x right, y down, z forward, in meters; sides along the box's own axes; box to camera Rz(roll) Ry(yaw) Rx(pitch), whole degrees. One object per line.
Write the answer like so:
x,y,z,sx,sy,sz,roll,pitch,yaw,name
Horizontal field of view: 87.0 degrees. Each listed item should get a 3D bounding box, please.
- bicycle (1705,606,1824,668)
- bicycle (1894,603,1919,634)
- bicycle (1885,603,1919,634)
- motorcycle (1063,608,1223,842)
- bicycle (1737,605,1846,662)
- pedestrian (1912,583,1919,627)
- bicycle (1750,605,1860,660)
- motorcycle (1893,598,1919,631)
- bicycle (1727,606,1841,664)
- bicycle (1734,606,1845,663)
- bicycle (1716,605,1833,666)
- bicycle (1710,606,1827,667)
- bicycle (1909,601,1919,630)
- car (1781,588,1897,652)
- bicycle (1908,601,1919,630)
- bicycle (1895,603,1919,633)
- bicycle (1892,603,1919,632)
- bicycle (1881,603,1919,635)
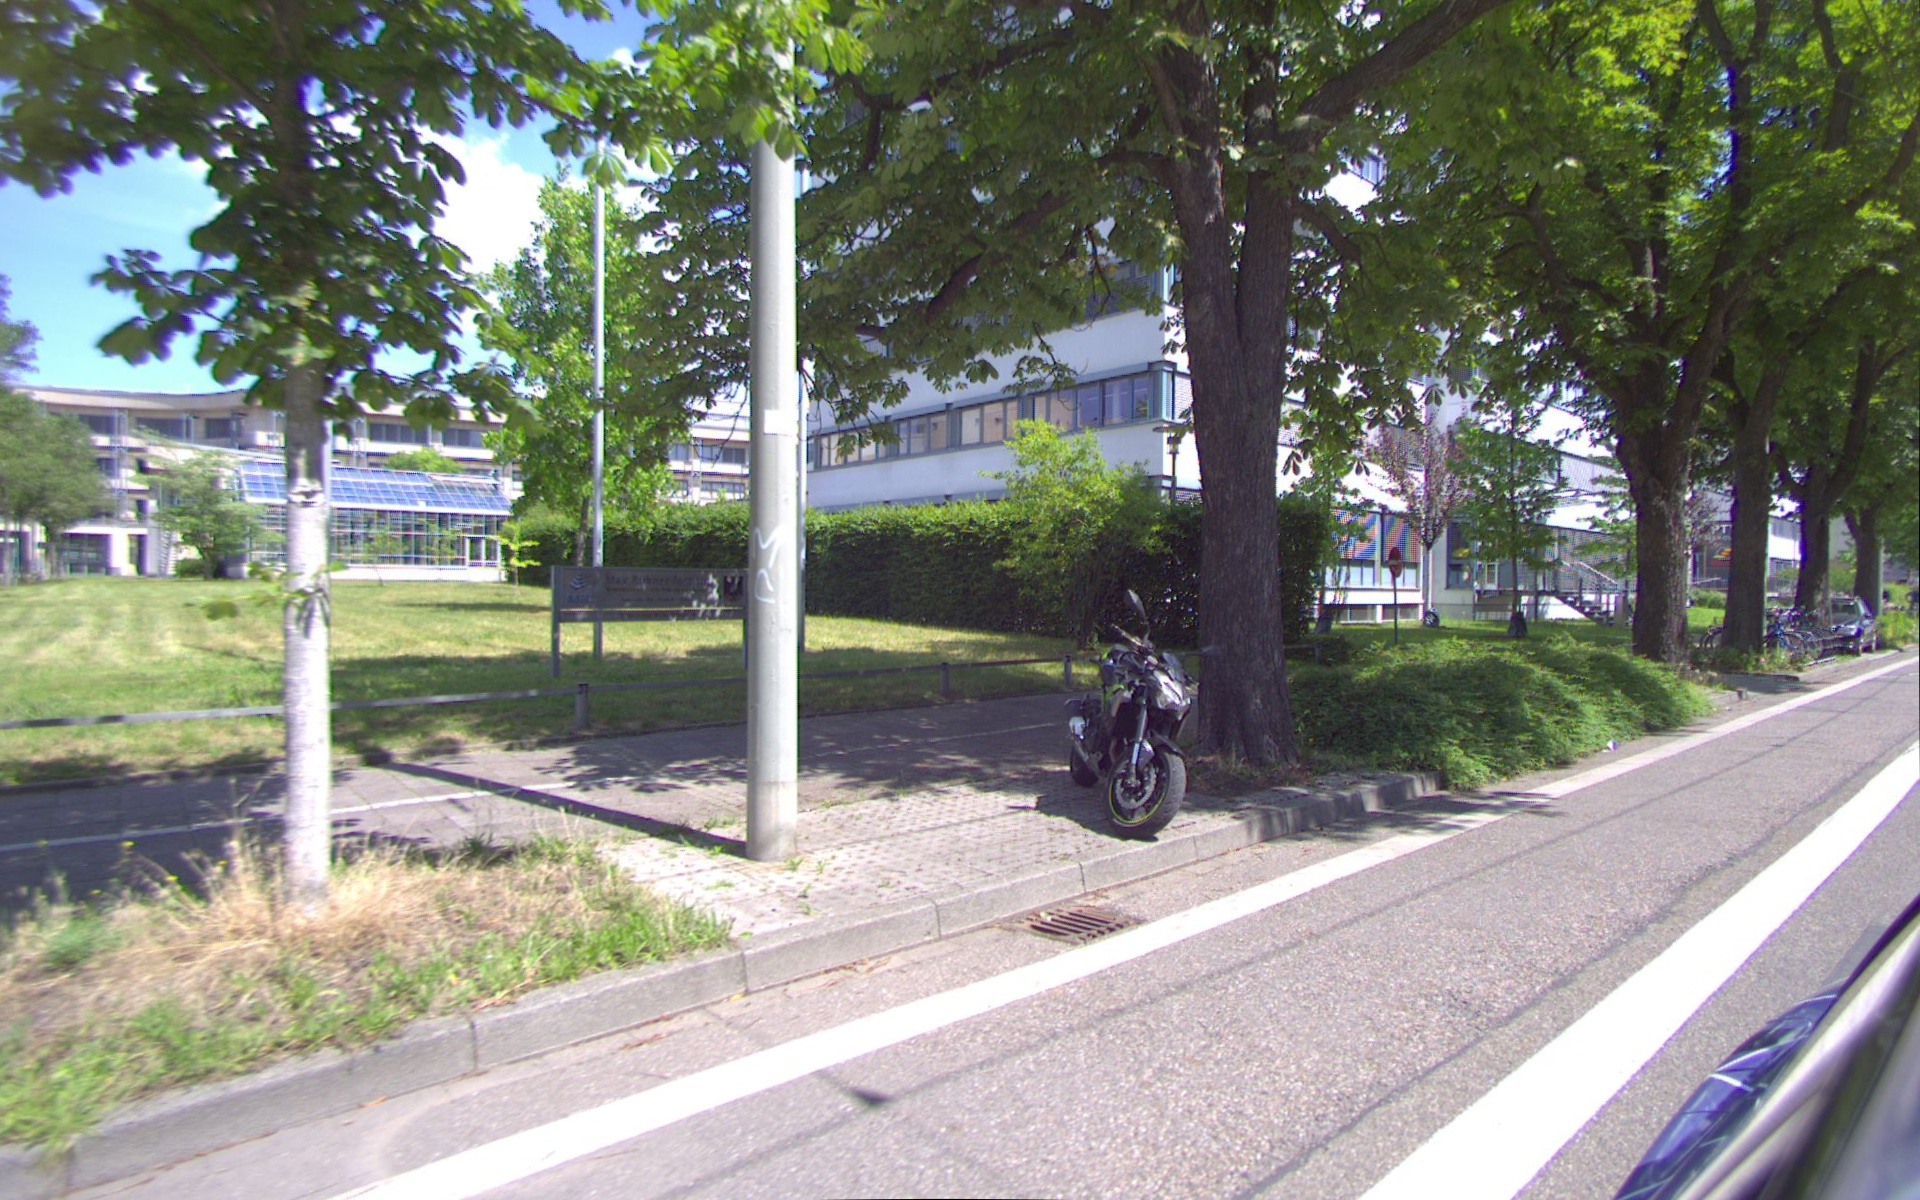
15.987,0.712,20.151,0.442,1.125,1.810,0,1,-43,bicycle
35.723,0.669,37.321,0.560,1.125,1.809,0,-1,-44,bicycle
35.129,0.681,37.038,0.560,1.125,1.809,0,-1,-44,bicycle
1.121,0.703,6.637,0.601,1.228,2.063,-1,1,-2,motorcycle
18.148,0.712,22.130,1.806,1.125,0.528,2,1,41,bicycle
40.070,0.206,41.672,0.967,1.856,0.787,0,-1,6,pedestrian
18.715,0.703,22.453,0.505,1.125,1.809,0,1,-43,bicycle
37.956,0.580,39.839,1.813,1.293,0.710,1,0,42,motorcycle
17.254,0.708,21.246,1.803,1.125,0.483,2,1,36,bicycle
17.737,0.717,21.674,1.806,1.125,0.525,2,1,41,bicycle
16.611,0.705,20.677,0.388,1.125,1.810,0,1,-43,bicycle
16.297,0.711,20.440,0.388,1.125,1.810,0,1,-43,bicycle
40.599,0.647,41.953,1.813,1.179,0.700,1,0,42,bicycle
22.682,0.461,26.044,4.554,1.485,1.679,0,1,-42,car
39.696,0.649,41.035,1.813,1.179,0.700,1,0,42,bicycle
36.125,0.674,37.713,0.560,1.125,1.809,0,-1,-44,bicycle
36.839,0.662,38.649,0.560,1.125,1.809,0,-1,-44,bicycle
34.618,0.683,36.617,0.560,1.125,1.842,0,-1,-44,bicycle
